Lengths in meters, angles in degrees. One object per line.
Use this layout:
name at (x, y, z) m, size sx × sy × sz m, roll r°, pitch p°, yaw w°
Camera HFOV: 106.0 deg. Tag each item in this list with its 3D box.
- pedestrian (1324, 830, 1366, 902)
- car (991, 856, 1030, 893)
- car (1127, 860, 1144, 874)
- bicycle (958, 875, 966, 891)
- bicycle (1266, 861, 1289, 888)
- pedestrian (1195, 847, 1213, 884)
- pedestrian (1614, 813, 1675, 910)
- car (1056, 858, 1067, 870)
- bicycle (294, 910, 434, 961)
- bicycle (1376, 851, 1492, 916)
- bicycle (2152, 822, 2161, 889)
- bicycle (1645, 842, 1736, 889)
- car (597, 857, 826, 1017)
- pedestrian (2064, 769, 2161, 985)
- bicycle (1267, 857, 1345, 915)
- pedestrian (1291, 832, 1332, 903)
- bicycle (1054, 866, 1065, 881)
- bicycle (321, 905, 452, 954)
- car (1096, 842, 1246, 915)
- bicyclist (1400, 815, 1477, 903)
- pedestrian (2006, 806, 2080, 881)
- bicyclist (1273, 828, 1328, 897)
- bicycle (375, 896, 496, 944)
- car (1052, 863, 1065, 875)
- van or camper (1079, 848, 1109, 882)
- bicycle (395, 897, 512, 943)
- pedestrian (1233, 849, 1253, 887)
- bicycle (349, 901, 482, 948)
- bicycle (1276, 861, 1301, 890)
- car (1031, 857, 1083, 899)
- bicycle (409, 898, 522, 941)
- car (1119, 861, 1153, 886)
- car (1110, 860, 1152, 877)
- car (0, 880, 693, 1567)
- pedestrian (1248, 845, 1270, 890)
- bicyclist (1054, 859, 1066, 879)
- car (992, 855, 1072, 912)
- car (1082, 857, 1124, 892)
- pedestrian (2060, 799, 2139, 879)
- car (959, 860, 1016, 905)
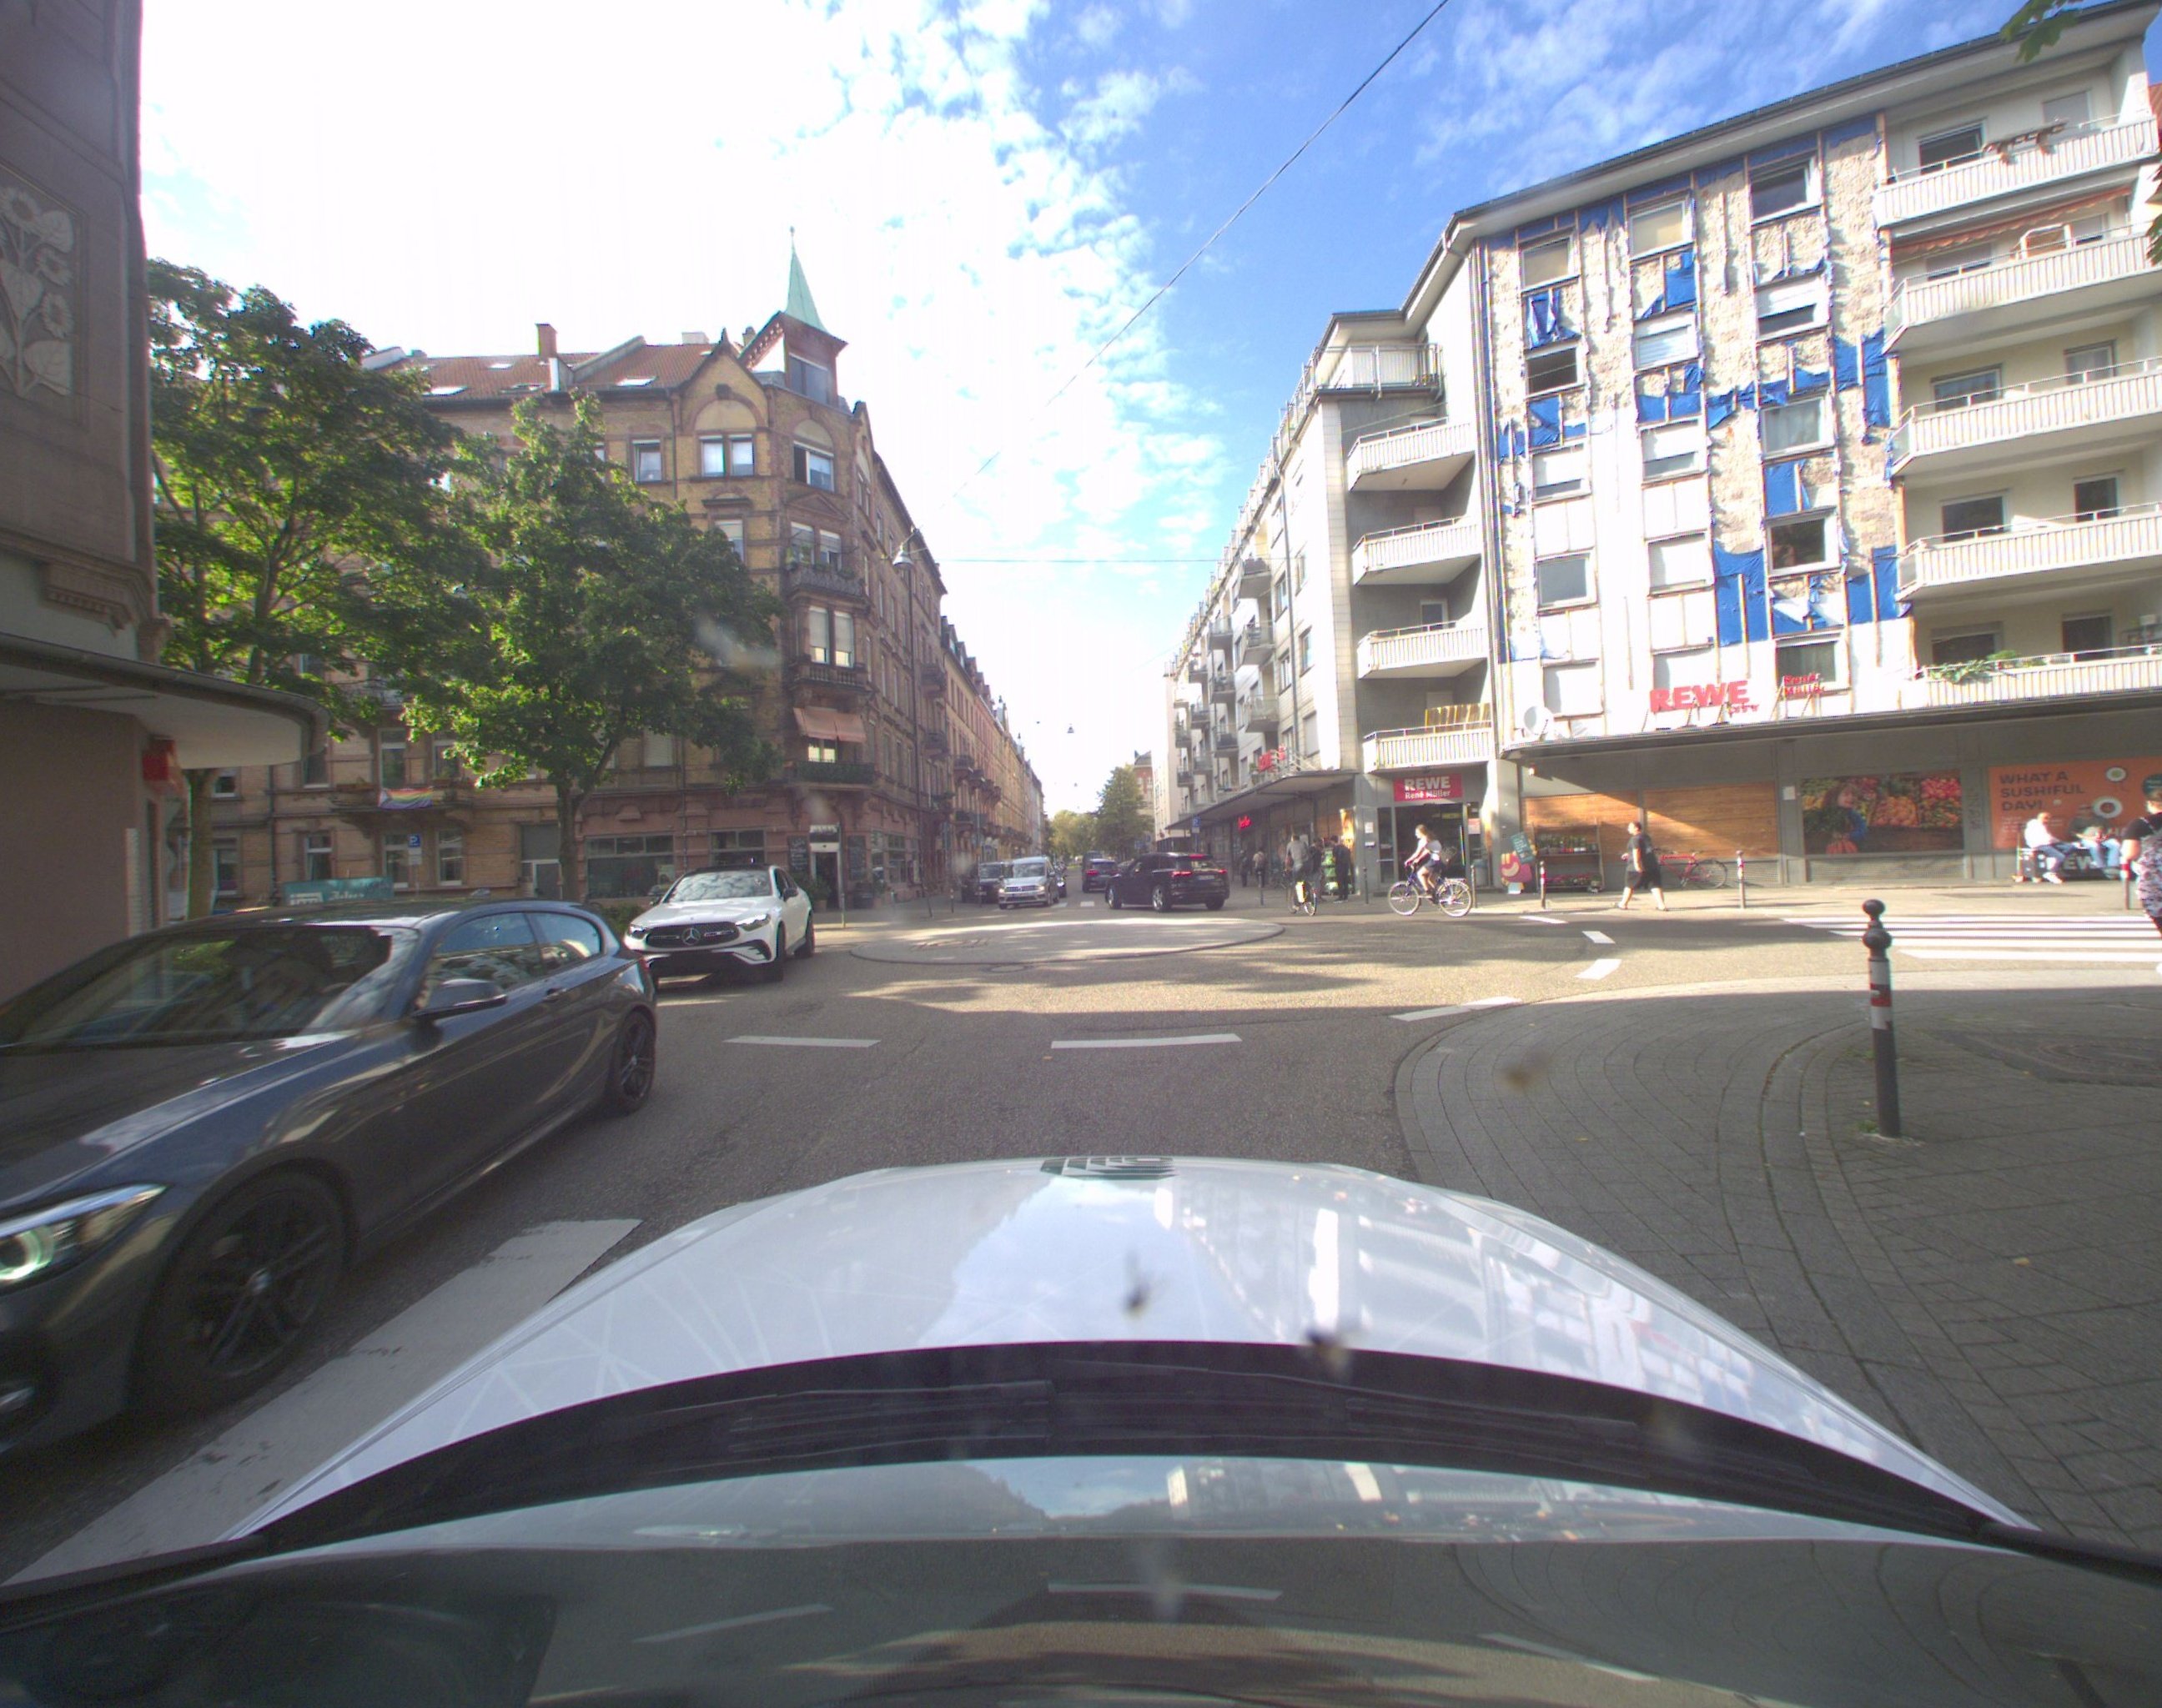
pedestrian at (7.032, 0.308, 21.696) m, size 0.865 × 1.851 × 0.613 m, roll -3°, pitch -1°, yaw 5°
car at (-4.173, 1.183, 48.532) m, size 1.988 × 2.013 × 3.997 m, roll -3°, pitch -1°, yaw -2°
car at (6.015, 1.411, 90.397) m, size 1.639 × 1.324 × 3.577 m, roll -5°, pitch -1°, yaw 2°
bicycle at (-7.503, 1.817, 51.419) m, size 0.359 × 0.947 × 1.713 m, roll -2°, pitch -1°, yaw -4°
bicycle at (7.815, 0.805, 32.409) m, size 0.359 × 0.999 × 1.713 m, roll -3°, pitch -1°, yaw -4°
pedestrian at (6.329, 0.575, 41.894) m, size 0.725 × 1.864 × 1.067 m, roll -3°, pitch -1°, yaw 15°
pedestrian at (10.487, 0.145, 15.179) m, size 0.624 × 1.739 × 0.778 m, roll -3°, pitch -1°, yaw 12°
car at (-3.794, 1.912, 156.436) m, size 1.987 × 2.013 × 3.999 m, roll -3°, pitch -1°, yaw 0°
bicycle at (-19.001, 2.154, 21.624) m, size 2.890 × 1.123 × 0.725 m, roll -3°, pitch -1°, yaw -4°
bicycle at (6.977, 0.580, 16.195) m, size 0.716 × 1.199 × 1.952 m, roll -2°, pitch -1°, yaw -39°
bicycle at (19.461, -0.028, 13.771) m, size 2.072 × 1.141 × 0.435 m, roll -3°, pitch 0°, yaw 0°
bicycle at (14.316, 0.283, 19.155) m, size 1.663 × 1.050 × 0.461 m, roll -3°, pitch -1°, yaw 40°
car at (-5.119, 0.977, 12.081) m, size 1.944 × 1.722 × 4.830 m, roll -4°, pitch 1°, yaw -12°
pedestrian at (9.204, 0.180, 6.973) m, size 0.774 × 1.780 × 0.798 m, roll -4°, pitch -1°, yaw 38°
bicycle at (4.937, 0.683, 18.104) m, size 0.666 × 1.178 × 2.488 m, roll -1°, pitch -1°, yaw -10°
pedestrian at (6.171, 0.354, 21.817) m, size 0.865 × 1.851 × 0.613 m, roll -3°, pitch -1°, yaw 5°
bicycle at (-2.083, 1.881, 79.644) m, size 0.923 × 1.489 × 3.459 m, roll 0°, pitch -1°, yaw -4°
bicycle at (-18.992, 2.046, 22.309) m, size 2.890 × 1.123 × 0.632 m, roll -3°, pitch -1°, yaw -4°
car at (2.398, 0.643, 23.145) m, size 2.045 × 1.724 × 4.808 m, roll -4°, pitch 1°, yaw -23°
bicyclist at (7.084, 0.099, 16.135) m, size 0.948 × 1.668 × 1.004 m, roll -2°, pitch -1°, yaw -40°
pedestrian at (19.690, -0.207, 16.689) m, size 0.743 × 1.479 × 0.590 m, roll -3°, pitch -1°, yaw 25°
bicyclist at (4.875, 0.180, 18.161) m, size 0.933 × 1.484 × 0.744 m, roll -1°, pitch -1°, yaw -10°
bicycle at (-18.944, 1.921, 23.924) m, size 2.890 × 1.190 × 0.632 m, roll -3°, pitch -1°, yaw -4°
car at (-3.697, 2.520, 137.087) m, size 1.987 × 2.013 × 3.999 m, roll -3°, pitch -1°, yaw 0°
van or camper at (1.160, 1.000, 77.751) m, size 2.525 × 3.037 × 4.455 m, roll -3°, pitch -1°, yaw -2°
bicycle at (-18.975, 1.990, 24.658) m, size 2.890 × 1.197 × 0.632 m, roll -3°, pitch -1°, yaw -4°
pedestrian at (7.029, 0.601, 35.356) m, size 0.740 × 1.629 × 0.815 m, roll -3°, pitch -1°, yaw 11°
bicycle at (-18.881, 1.994, 23.137) m, size 3.090 × 1.123 × 0.632 m, roll -3°, pitch -1°, yaw -4°
bicycle at (7.643, 0.777, 30.050) m, size 0.362 × 1.016 × 1.427 m, roll -2°, pitch -1°, yaw -8°
car at (-1.049, 1.076, 38.297) m, size 1.920 × 1.724 × 4.739 m, roll -4°, pitch -1°, yaw 3°
bicycle at (-19.073, 2.020, 25.267) m, size 2.890 × 1.123 × 0.632 m, roll -3°, pitch -1°, yaw -4°
car at (3.585, 1.240, 53.524) m, size 1.986 × 1.486 × 4.001 m, roll -3°, pitch -1°, yaw 1°
car at (5.075, 1.488, 82.678) m, size 3.977 × 1.486 × 1.998 m, roll -3°, pitch -1°, yaw -2°
car at (-3.422, 0.870, 3.701) m, size 1.749 × 1.436 × 4.200 m, roll -1°, pitch -1°, yaw -8°
pedestrian at (6.885, 0.518, 31.575) m, size 0.736 × 1.712 × 0.736 m, roll -3°, pitch -1°, yaw 11°
bicyclist at (-2.100, 1.449, 79.718) m, size 1.131 × 1.998 × 1.026 m, roll 0°, pitch -1°, yaw -5°
car at (-1.689, 0.990, 29.728) m, size 1.782 × 1.790 × 4.748 m, roll -4°, pitch -1°, yaw 9°
car at (1.073, 1.036, 41.683) m, size 1.987 × 1.618 × 3.999 m, roll -3°, pitch -1°, yaw 0°
pedestrian at (20.371, -0.287, 16.303) m, size 0.740 × 1.550 × 0.735 m, roll -1°, pitch 0°, yaw 26°
car at (-4.083, 1.213, 36.371) m, size 1.775 × 1.724 × 4.448 m, roll -1°, pitch 1°, yaw 3°
